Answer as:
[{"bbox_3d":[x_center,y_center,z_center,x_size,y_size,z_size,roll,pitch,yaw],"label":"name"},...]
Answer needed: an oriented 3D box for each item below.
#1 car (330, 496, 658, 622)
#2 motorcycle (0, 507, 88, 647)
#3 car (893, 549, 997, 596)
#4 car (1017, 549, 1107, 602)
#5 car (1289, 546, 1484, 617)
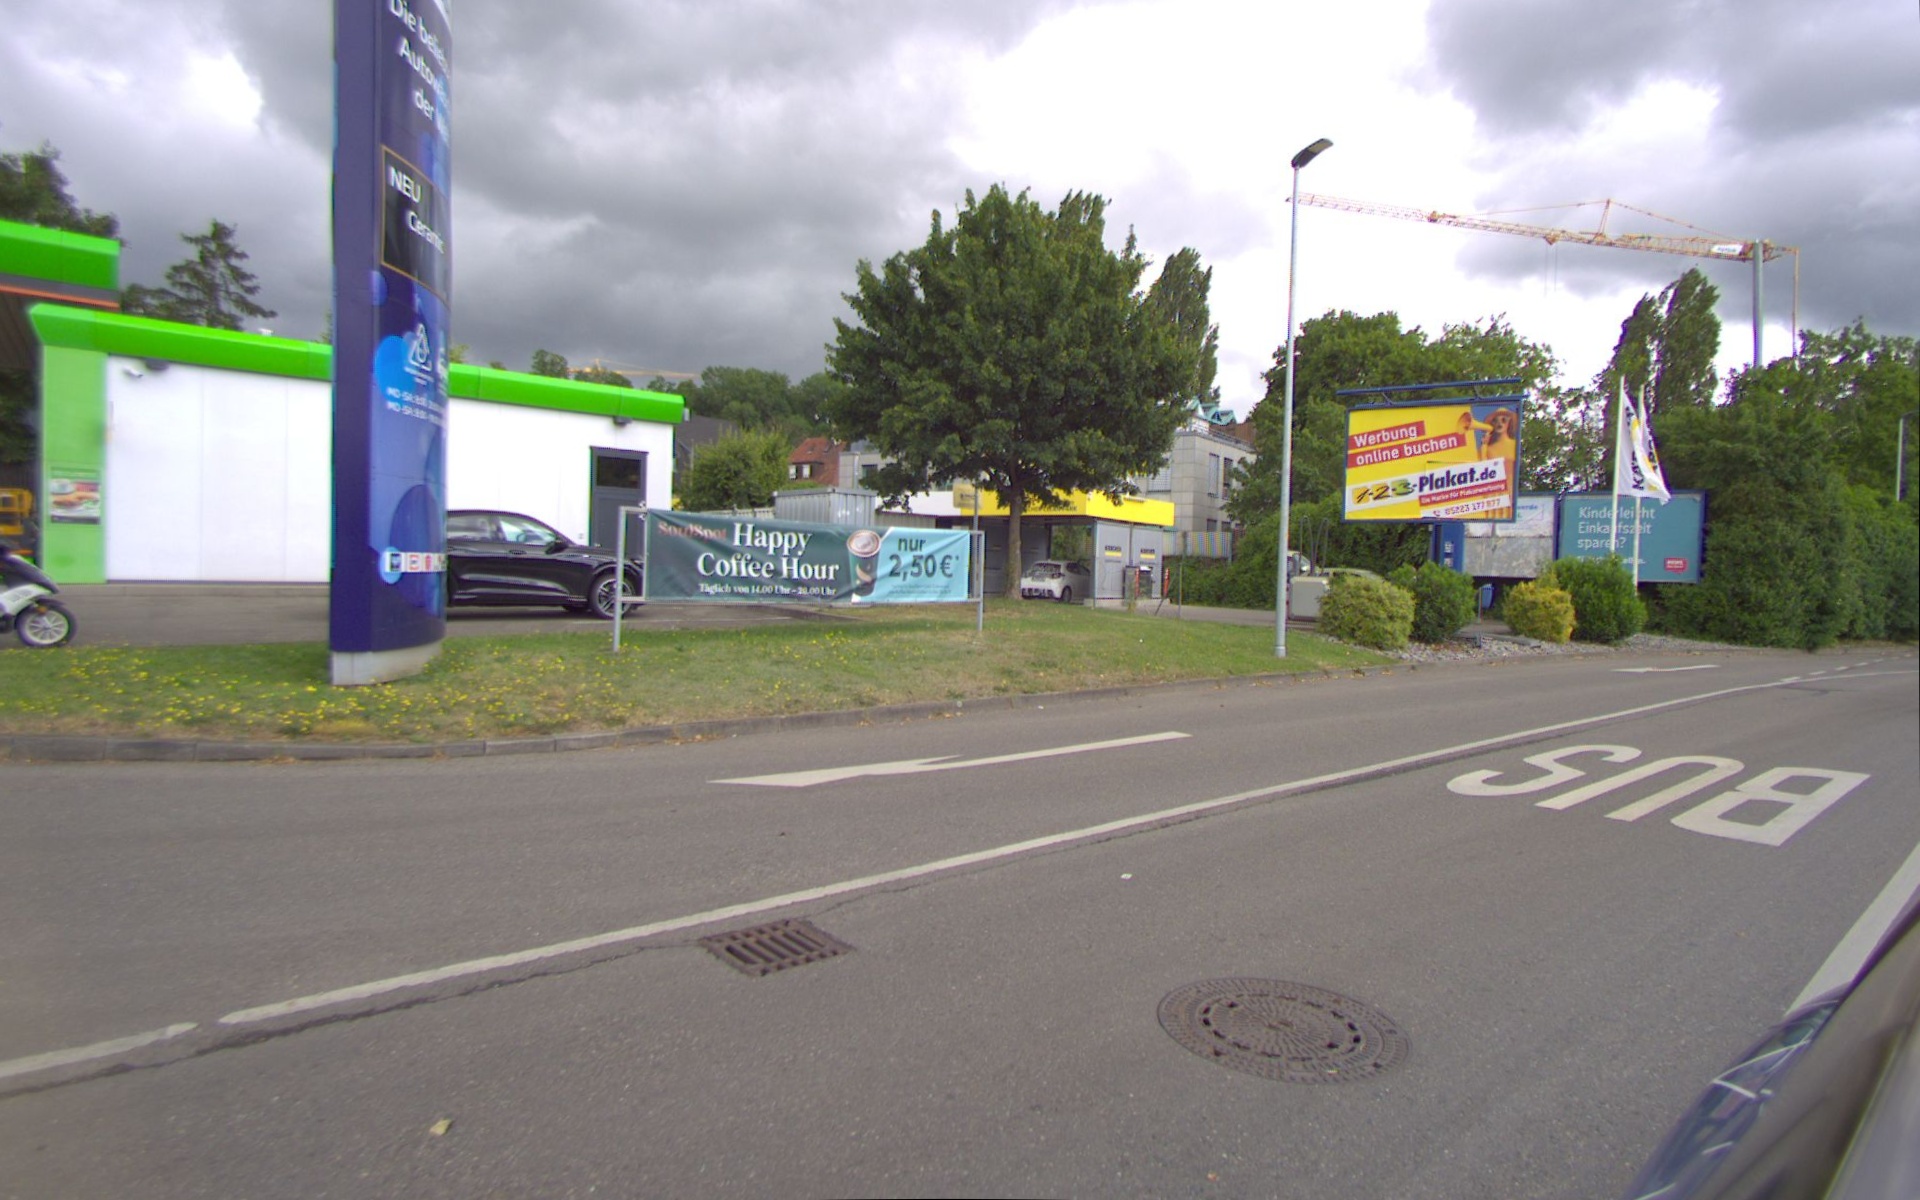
[{"bbox_3d":[-7.089,-0.640,15.630,4.262,1.694,1.824,-1,4,-41],"label":"car"},{"bbox_3d":[-9.767,-0.243,9.827,1.955,1.347,0.857,0,2,-41],"label":"motorcycle"},{"bbox_3d":[-0.507,-0.992,36.958,1.828,1.593,3.880,3,2,36],"label":"car"},{"bbox_3d":[3.527,-0.831,34.529,1.620,1.660,3.490,3,2,32],"label":"car"},{"bbox_3d":[11.316,-0.531,26.949,4.017,1.676,2.900,4,2,43],"label":"car"}]
